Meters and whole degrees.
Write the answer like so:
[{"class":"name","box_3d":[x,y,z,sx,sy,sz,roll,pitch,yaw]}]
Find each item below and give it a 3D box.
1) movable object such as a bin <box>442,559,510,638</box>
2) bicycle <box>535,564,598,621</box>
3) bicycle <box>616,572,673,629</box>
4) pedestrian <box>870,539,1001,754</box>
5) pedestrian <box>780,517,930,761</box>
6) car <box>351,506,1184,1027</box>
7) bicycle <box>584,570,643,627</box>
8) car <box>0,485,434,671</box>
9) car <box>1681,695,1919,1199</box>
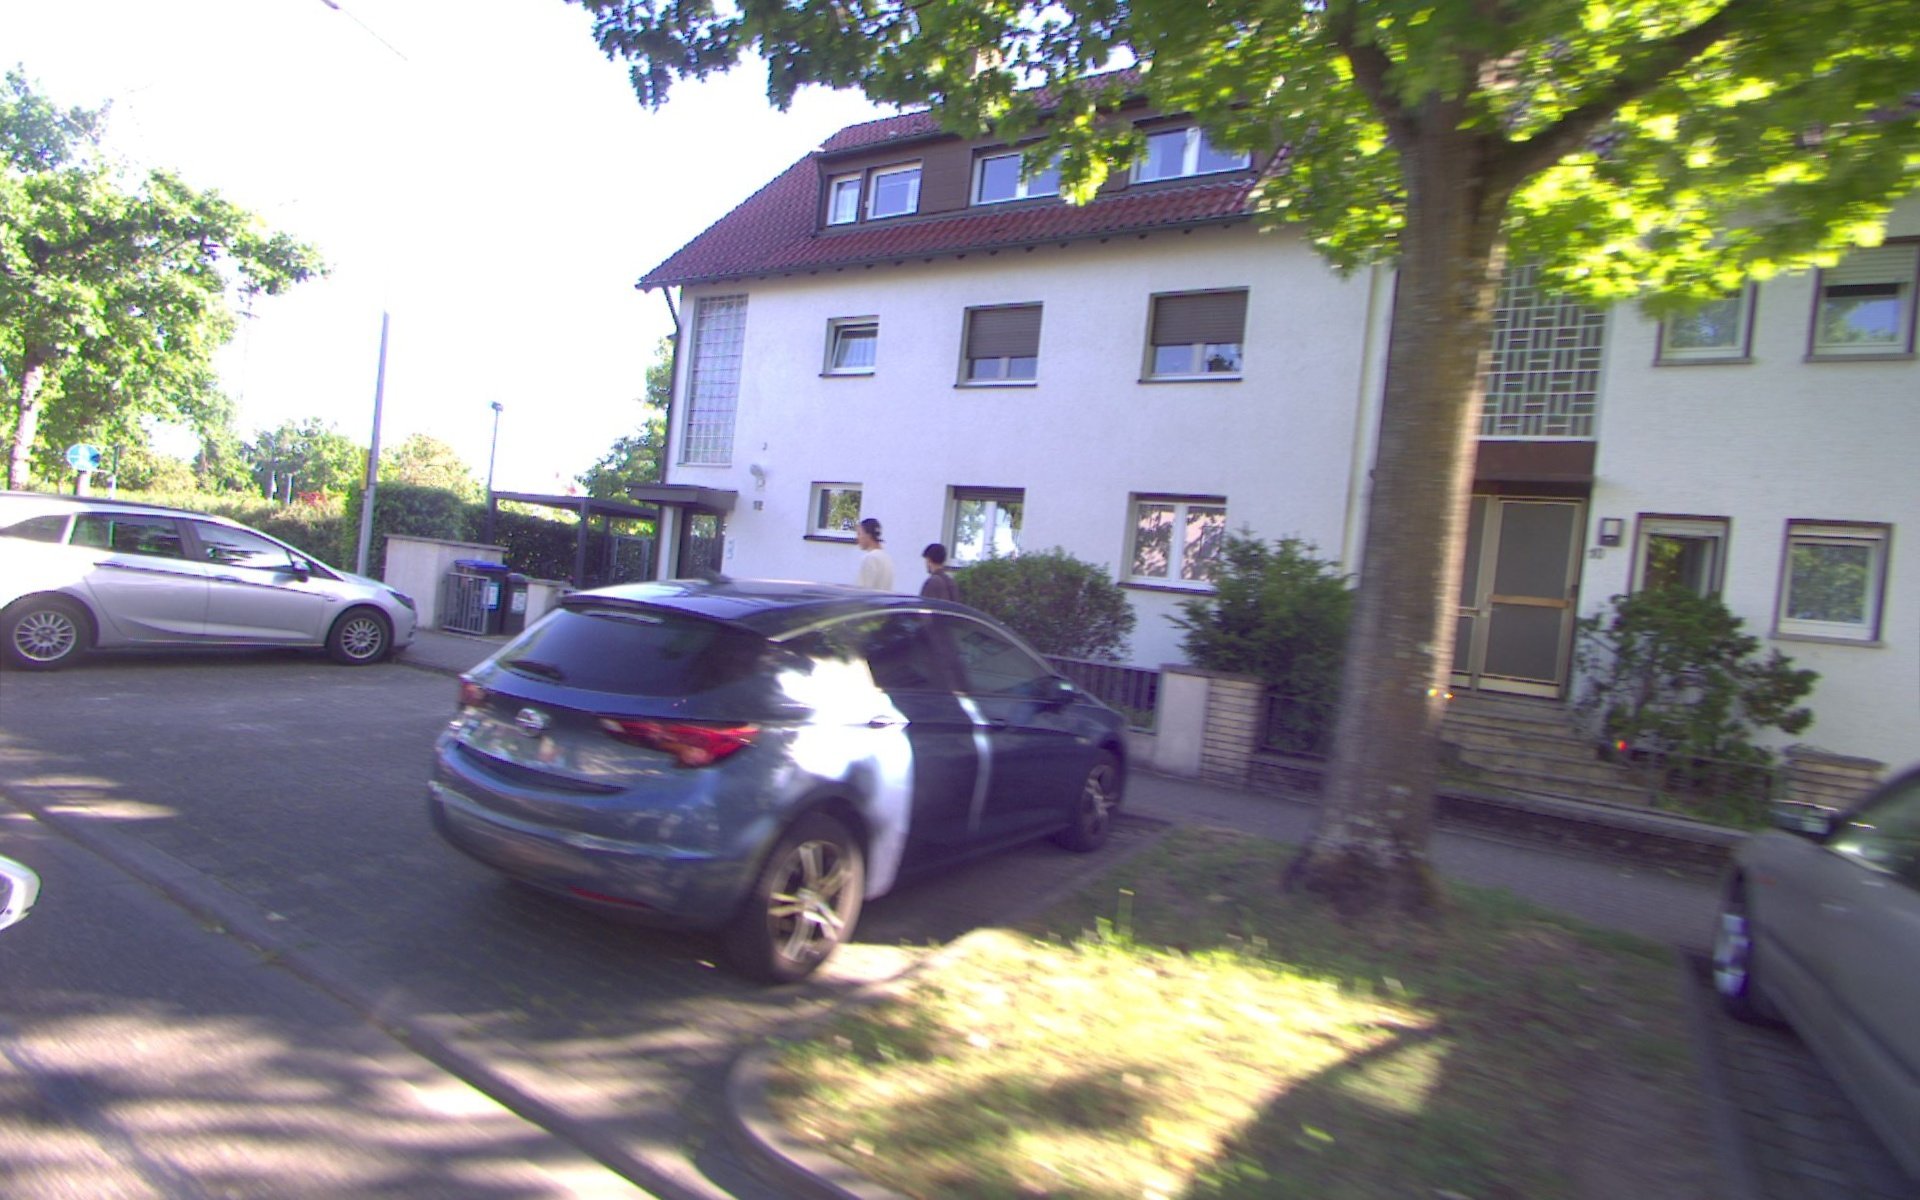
[{"class":"movable object such as a bin","box_3d":[-7.046,-0.018,14.652,0.688,1.058,0.534,7,1,31]},{"class":"bicycle","box_3d":[-8.043,-0.141,20.601,0.522,1.068,1.673,6,1,1]},{"class":"bicycle","box_3d":[-6.438,0.003,20.607,0.522,1.068,1.673,6,1,1]},{"class":"pedestrian","box_3d":[-0.218,0.418,9.299,0.699,1.851,0.835,6,1,35]},{"class":"pedestrian","box_3d":[-0.876,0.307,8.383,0.909,1.897,0.608,6,1,35]},{"class":"car","box_3d":[-0.490,0.593,5.337,1.767,1.522,4.278,7,0,33]},{"class":"bicycle","box_3d":[-7.068,-0.029,20.582,0.522,1.068,1.673,6,1,1]},{"class":"car","box_3d":[-7.830,-0.184,9.818,1.766,1.510,4.432,7,1,31]},{"class":"car","box_3d":[3.525,1.183,2.772,1.765,1.432,4.283,7,1,28]}]
